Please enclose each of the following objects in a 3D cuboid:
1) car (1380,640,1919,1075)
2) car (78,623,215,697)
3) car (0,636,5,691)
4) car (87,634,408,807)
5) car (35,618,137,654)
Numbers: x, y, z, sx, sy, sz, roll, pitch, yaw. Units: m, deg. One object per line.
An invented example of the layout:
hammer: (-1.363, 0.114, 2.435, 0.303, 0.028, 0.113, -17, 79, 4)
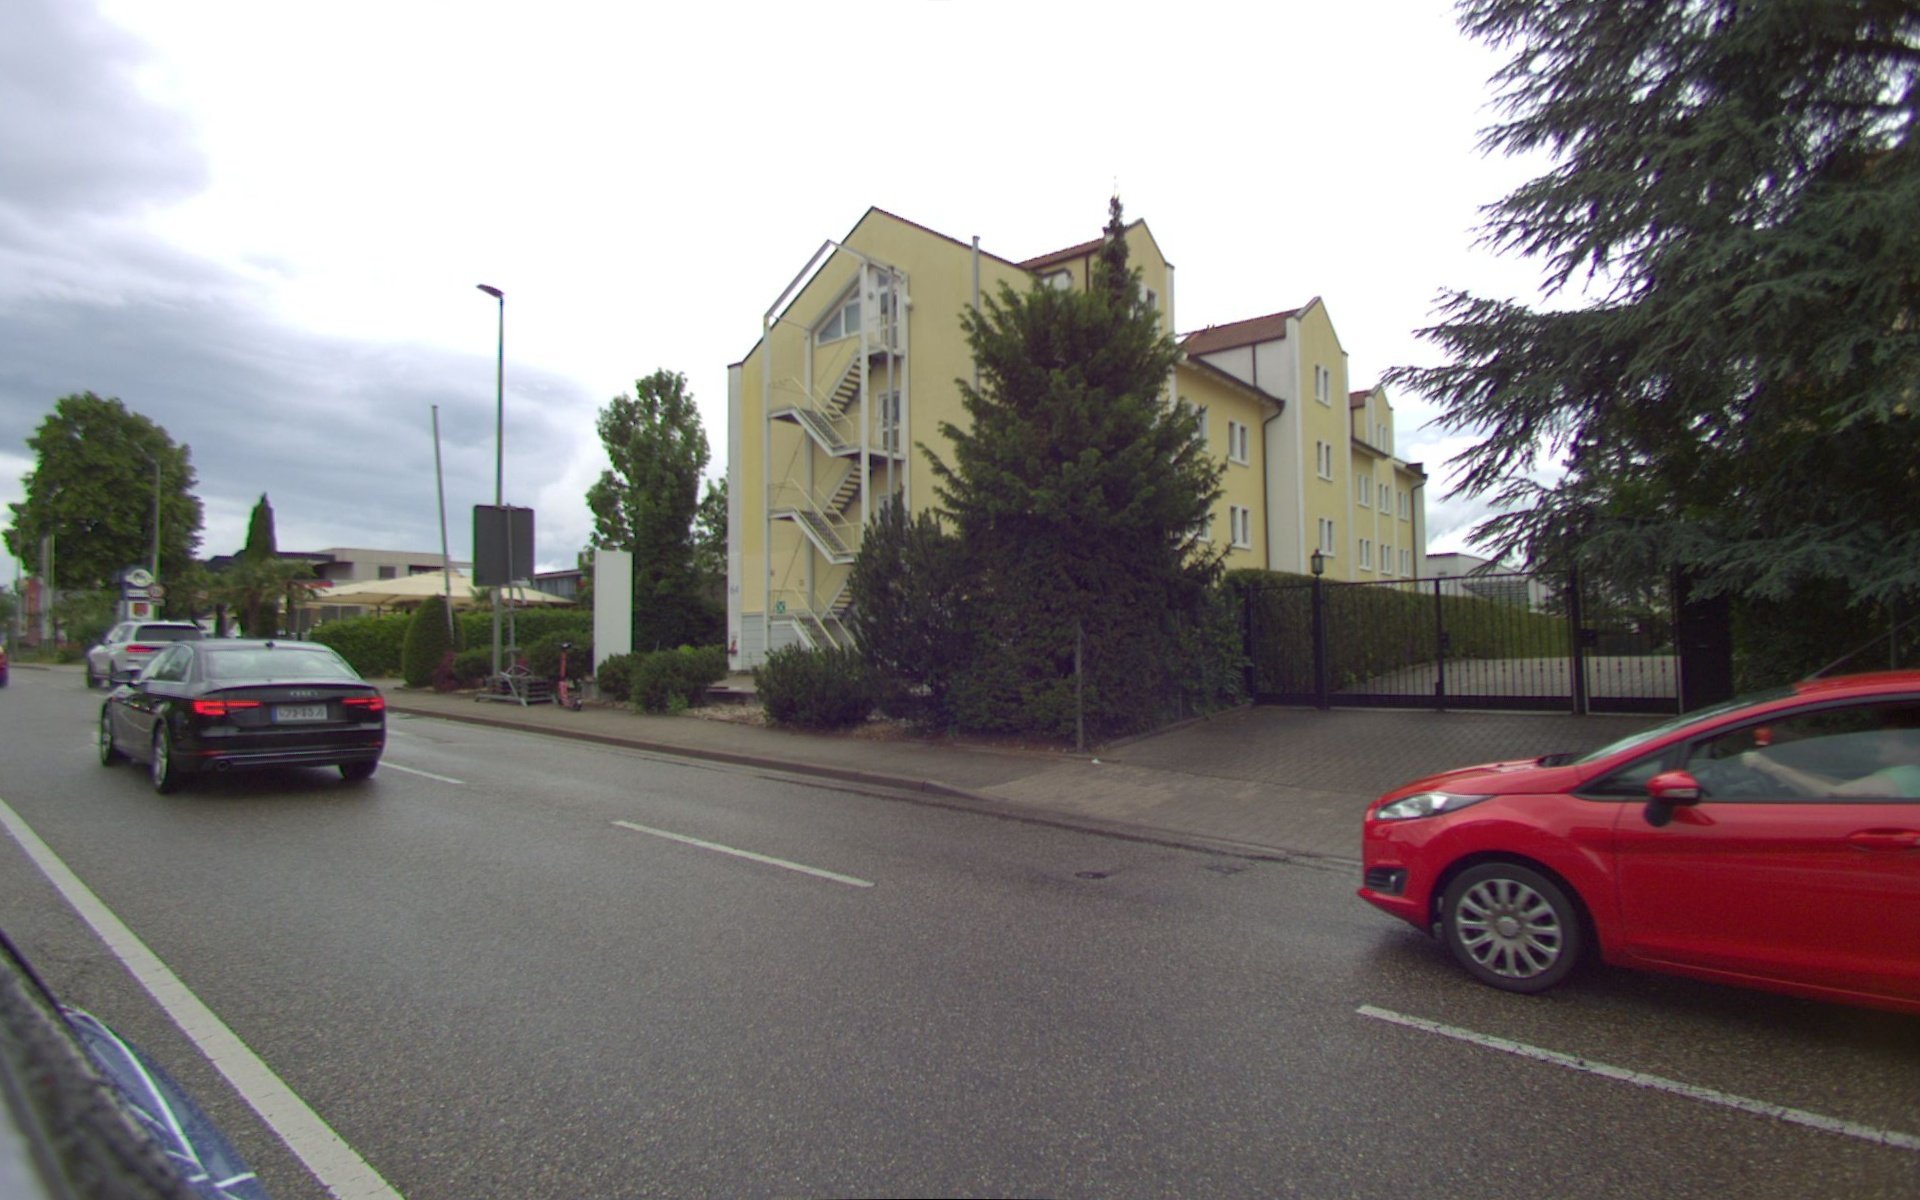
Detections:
car: (3.856, 0.931, 4.071, 3.700, 1.467, 1.615, -1, -4, 41)
car: (-21.638, 1.549, 26.838, 5.141, 1.776, 1.897, -2, -4, 41)
car: (-26.814, 1.634, 26.920, 3.839, 1.430, 1.663, -2, -4, 41)
car: (-7.521, 1.078, 10.518, 4.264, 1.414, 1.872, -2, -3, 43)
car: (-53.374, 2.245, 61.922, 1.980, 2.029, 4.382, -1, -4, 12)
